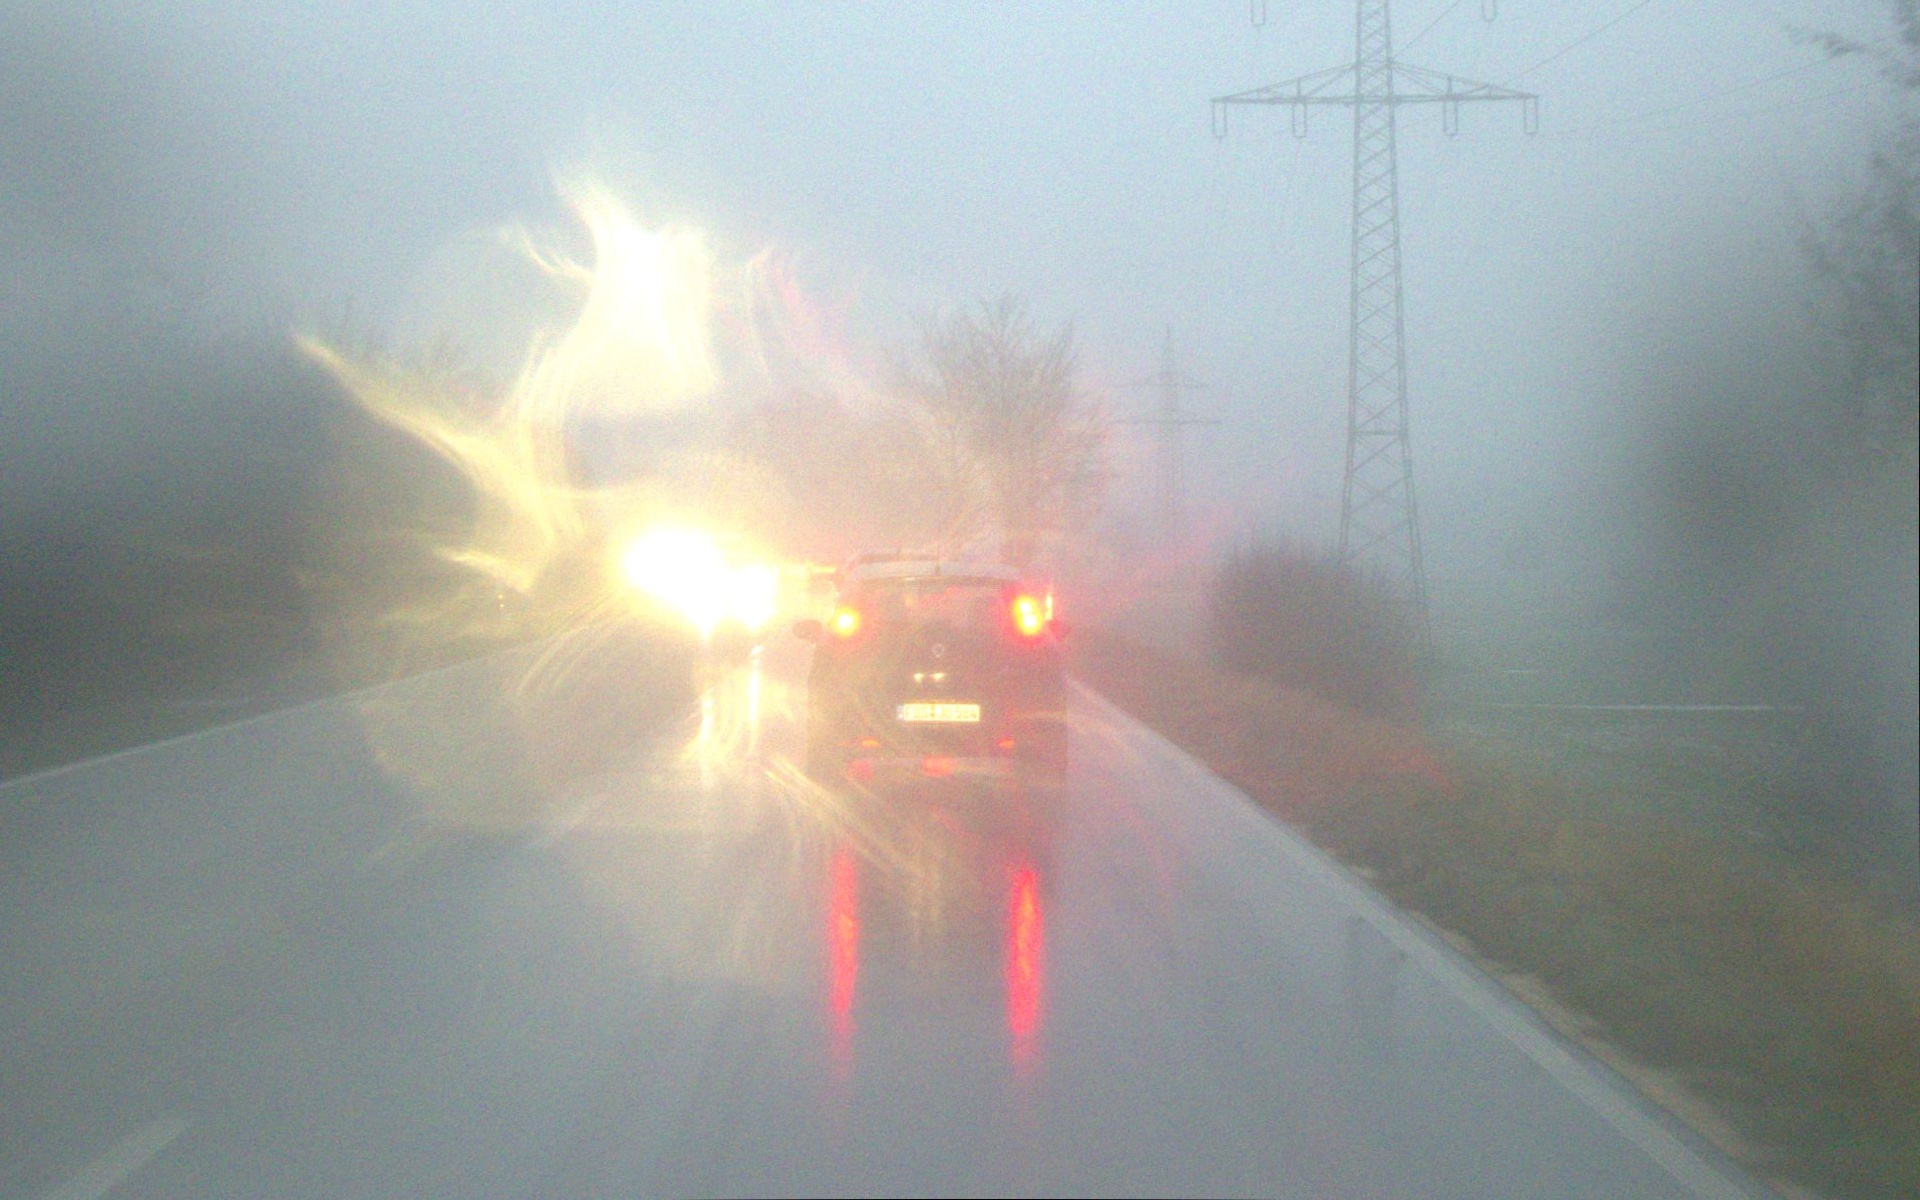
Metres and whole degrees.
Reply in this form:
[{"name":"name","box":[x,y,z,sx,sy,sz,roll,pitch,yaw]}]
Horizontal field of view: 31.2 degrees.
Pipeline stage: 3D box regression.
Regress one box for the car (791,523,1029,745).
[{"name":"car","box":[-0.353,0.197,23.426,1.500,1.393,3.200,1,1,-1]}]

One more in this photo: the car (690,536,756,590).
[{"name":"car","box":[-6.764,-1.080,98.479,1.688,1.502,4.413,1,1,-1]}]

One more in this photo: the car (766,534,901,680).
[{"name":"car","box":[-1.804,0.073,49.868,1.852,2.007,4.000,1,1,-1]}]

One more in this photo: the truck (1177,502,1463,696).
[{"name":"truck","box":[5.156,-0.077,51.412,2.503,2.562,10.807,1,1,-3]}]
